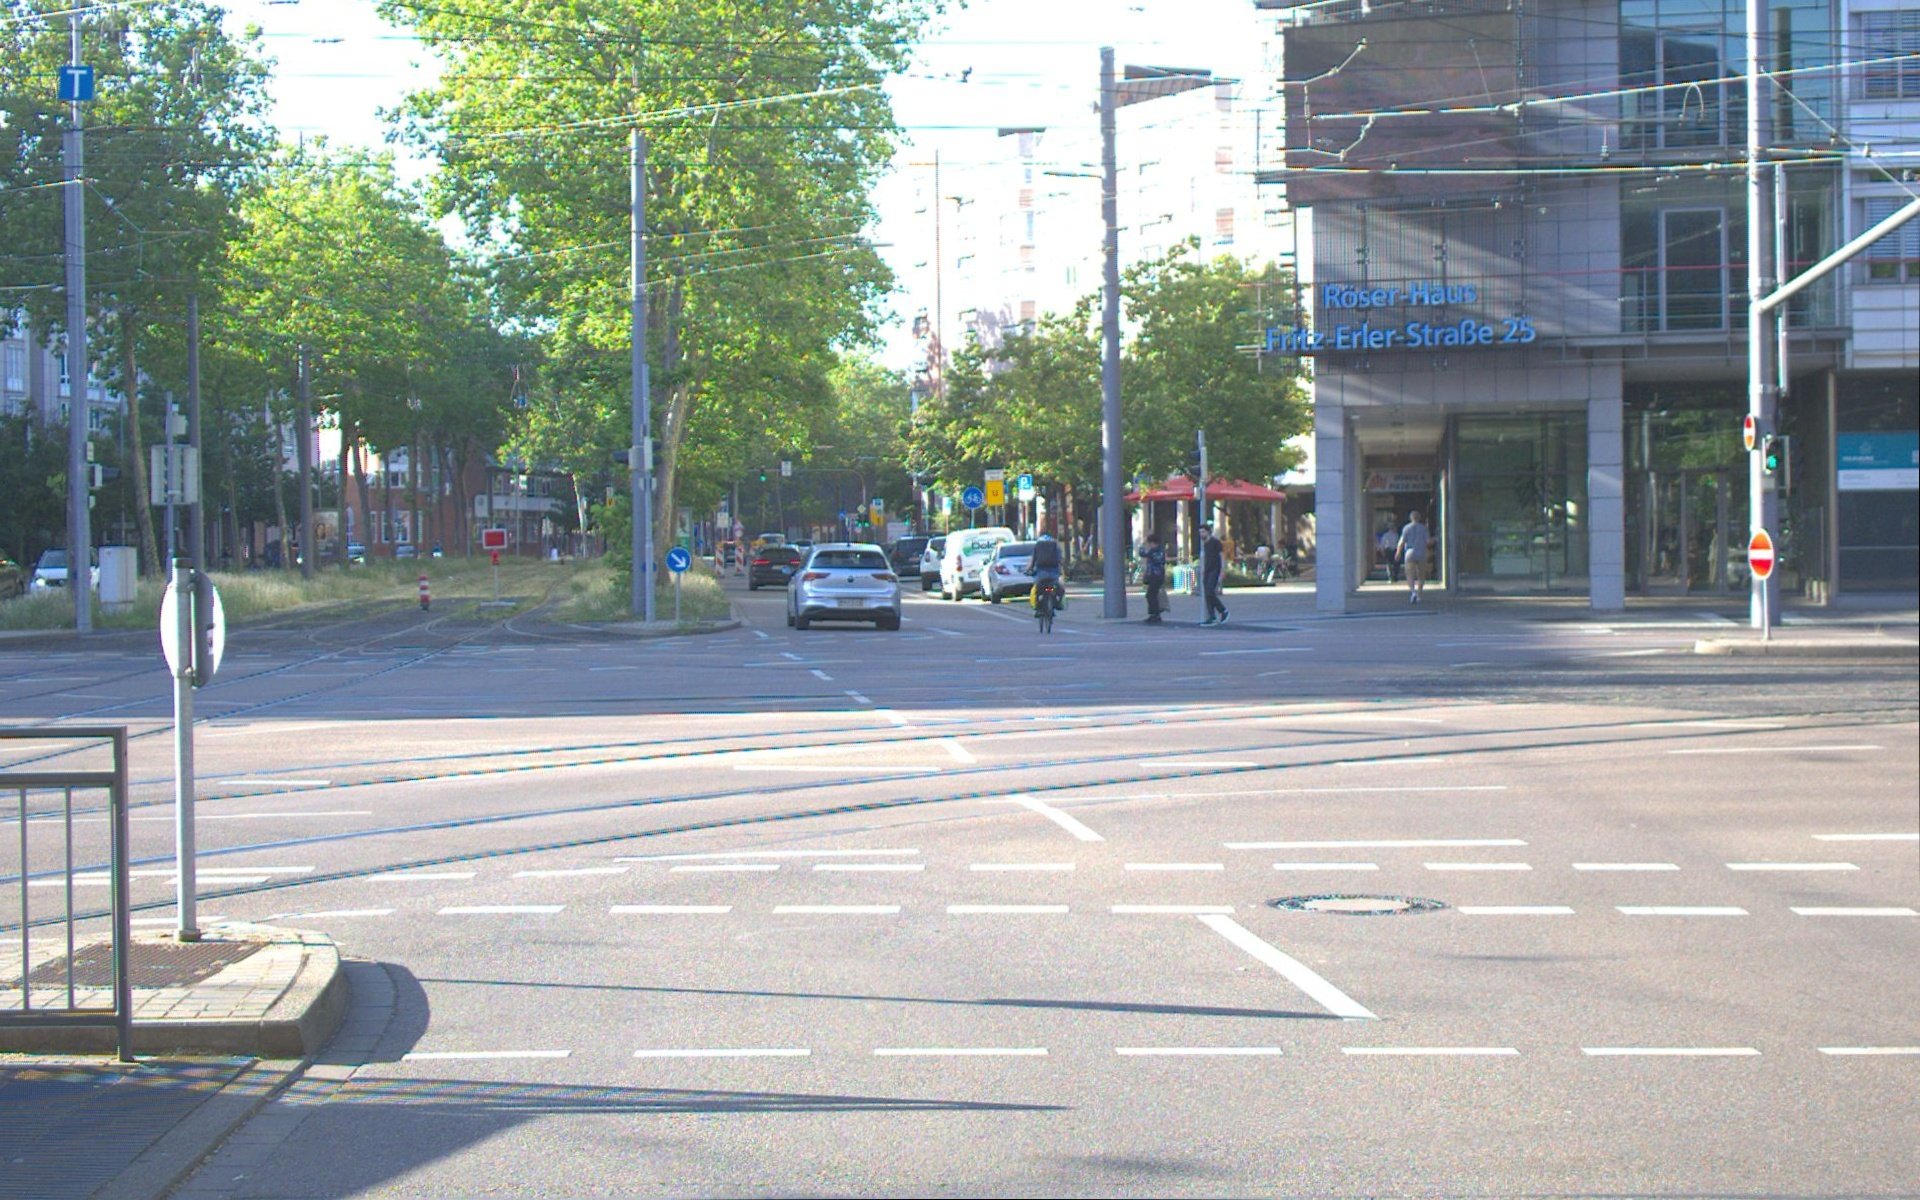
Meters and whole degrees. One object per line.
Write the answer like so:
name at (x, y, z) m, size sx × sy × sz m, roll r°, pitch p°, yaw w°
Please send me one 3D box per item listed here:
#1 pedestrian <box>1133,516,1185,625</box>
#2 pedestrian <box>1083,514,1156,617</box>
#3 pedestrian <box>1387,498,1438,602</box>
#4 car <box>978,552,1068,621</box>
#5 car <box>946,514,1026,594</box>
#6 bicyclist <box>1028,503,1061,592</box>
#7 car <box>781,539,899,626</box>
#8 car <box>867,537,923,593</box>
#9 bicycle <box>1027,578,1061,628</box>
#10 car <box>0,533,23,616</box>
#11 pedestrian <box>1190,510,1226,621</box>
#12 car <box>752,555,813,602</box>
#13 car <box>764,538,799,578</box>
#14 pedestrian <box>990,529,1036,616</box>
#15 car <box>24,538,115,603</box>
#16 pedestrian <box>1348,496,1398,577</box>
pedestrian at (3.711, -0.545, 64.148) m, size 0.849 × 2.007 × 0.708 m, roll 1°, pitch 0°, yaw -4°
pedestrian at (3.066, -0.660, 66.147) m, size 1.342 × 1.944 × 1.011 m, roll -1°, pitch 0°, yaw -1°
pedestrian at (8.869, -0.966, 67.371) m, size 0.869 × 2.007 × 0.794 m, roll 1°, pitch -1°, yaw -1°
car at (1.504, -0.343, 82.972) m, size 2.029 × 1.590 × 4.000 m, roll 1°, pitch 1°, yaw -1°
car at (0.654, -1.203, 89.603) m, size 1.993 × 2.007 × 4.000 m, roll 1°, pitch 1°, yaw -1°
bicyclist at (1.374, -0.858, 55.879) m, size 0.486 × 1.434 × 0.615 m, roll 1°, pitch 1°, yaw -1°
car at (-1.991, -0.324, 58.083) m, size 1.748 × 1.413 × 4.000 m, roll 0°, pitch 1°, yaw 1°
car at (-2.374, -1.280, 126.878) m, size 1.993 × 2.007 × 4.000 m, roll 1°, pitch 1°, yaw -1°
bicycle at (1.362, 0.039, 55.880) m, size 0.490 × 0.785 × 1.862 m, roll 0°, pitch 1°, yaw -1°
car at (-21.653, -0.553, 74.827) m, size 1.822 × 1.784 × 4.001 m, roll -1°, pitch 1°, yaw -7°
pedestrian at (4.530, -0.635, 62.785) m, size 0.586 × 2.007 × 0.620 m, roll 1°, pitch 0°, yaw 0°
car at (-5.494, -0.678, 105.829) m, size 1.763 × 1.399 × 4.297 m, roll 0°, pitch 1°, yaw -4°
car at (-11.459, -2.685, 220.591) m, size 1.993 × 2.008 × 3.998 m, roll 1°, pitch -8°, yaw 1°
pedestrian at (1.053, -0.540, 68.101) m, size 0.869 × 1.702 × 0.794 m, roll 1°, pitch 0°, yaw -1°
car at (-22.724, -0.767, 87.870) m, size 1.676 × 1.601 × 4.001 m, roll 1°, pitch 1°, yaw -6°
pedestrian at (11.389, -1.748, 94.751) m, size 1.313 × 2.182 × 1.170 m, roll 1°, pitch 0°, yaw 6°
